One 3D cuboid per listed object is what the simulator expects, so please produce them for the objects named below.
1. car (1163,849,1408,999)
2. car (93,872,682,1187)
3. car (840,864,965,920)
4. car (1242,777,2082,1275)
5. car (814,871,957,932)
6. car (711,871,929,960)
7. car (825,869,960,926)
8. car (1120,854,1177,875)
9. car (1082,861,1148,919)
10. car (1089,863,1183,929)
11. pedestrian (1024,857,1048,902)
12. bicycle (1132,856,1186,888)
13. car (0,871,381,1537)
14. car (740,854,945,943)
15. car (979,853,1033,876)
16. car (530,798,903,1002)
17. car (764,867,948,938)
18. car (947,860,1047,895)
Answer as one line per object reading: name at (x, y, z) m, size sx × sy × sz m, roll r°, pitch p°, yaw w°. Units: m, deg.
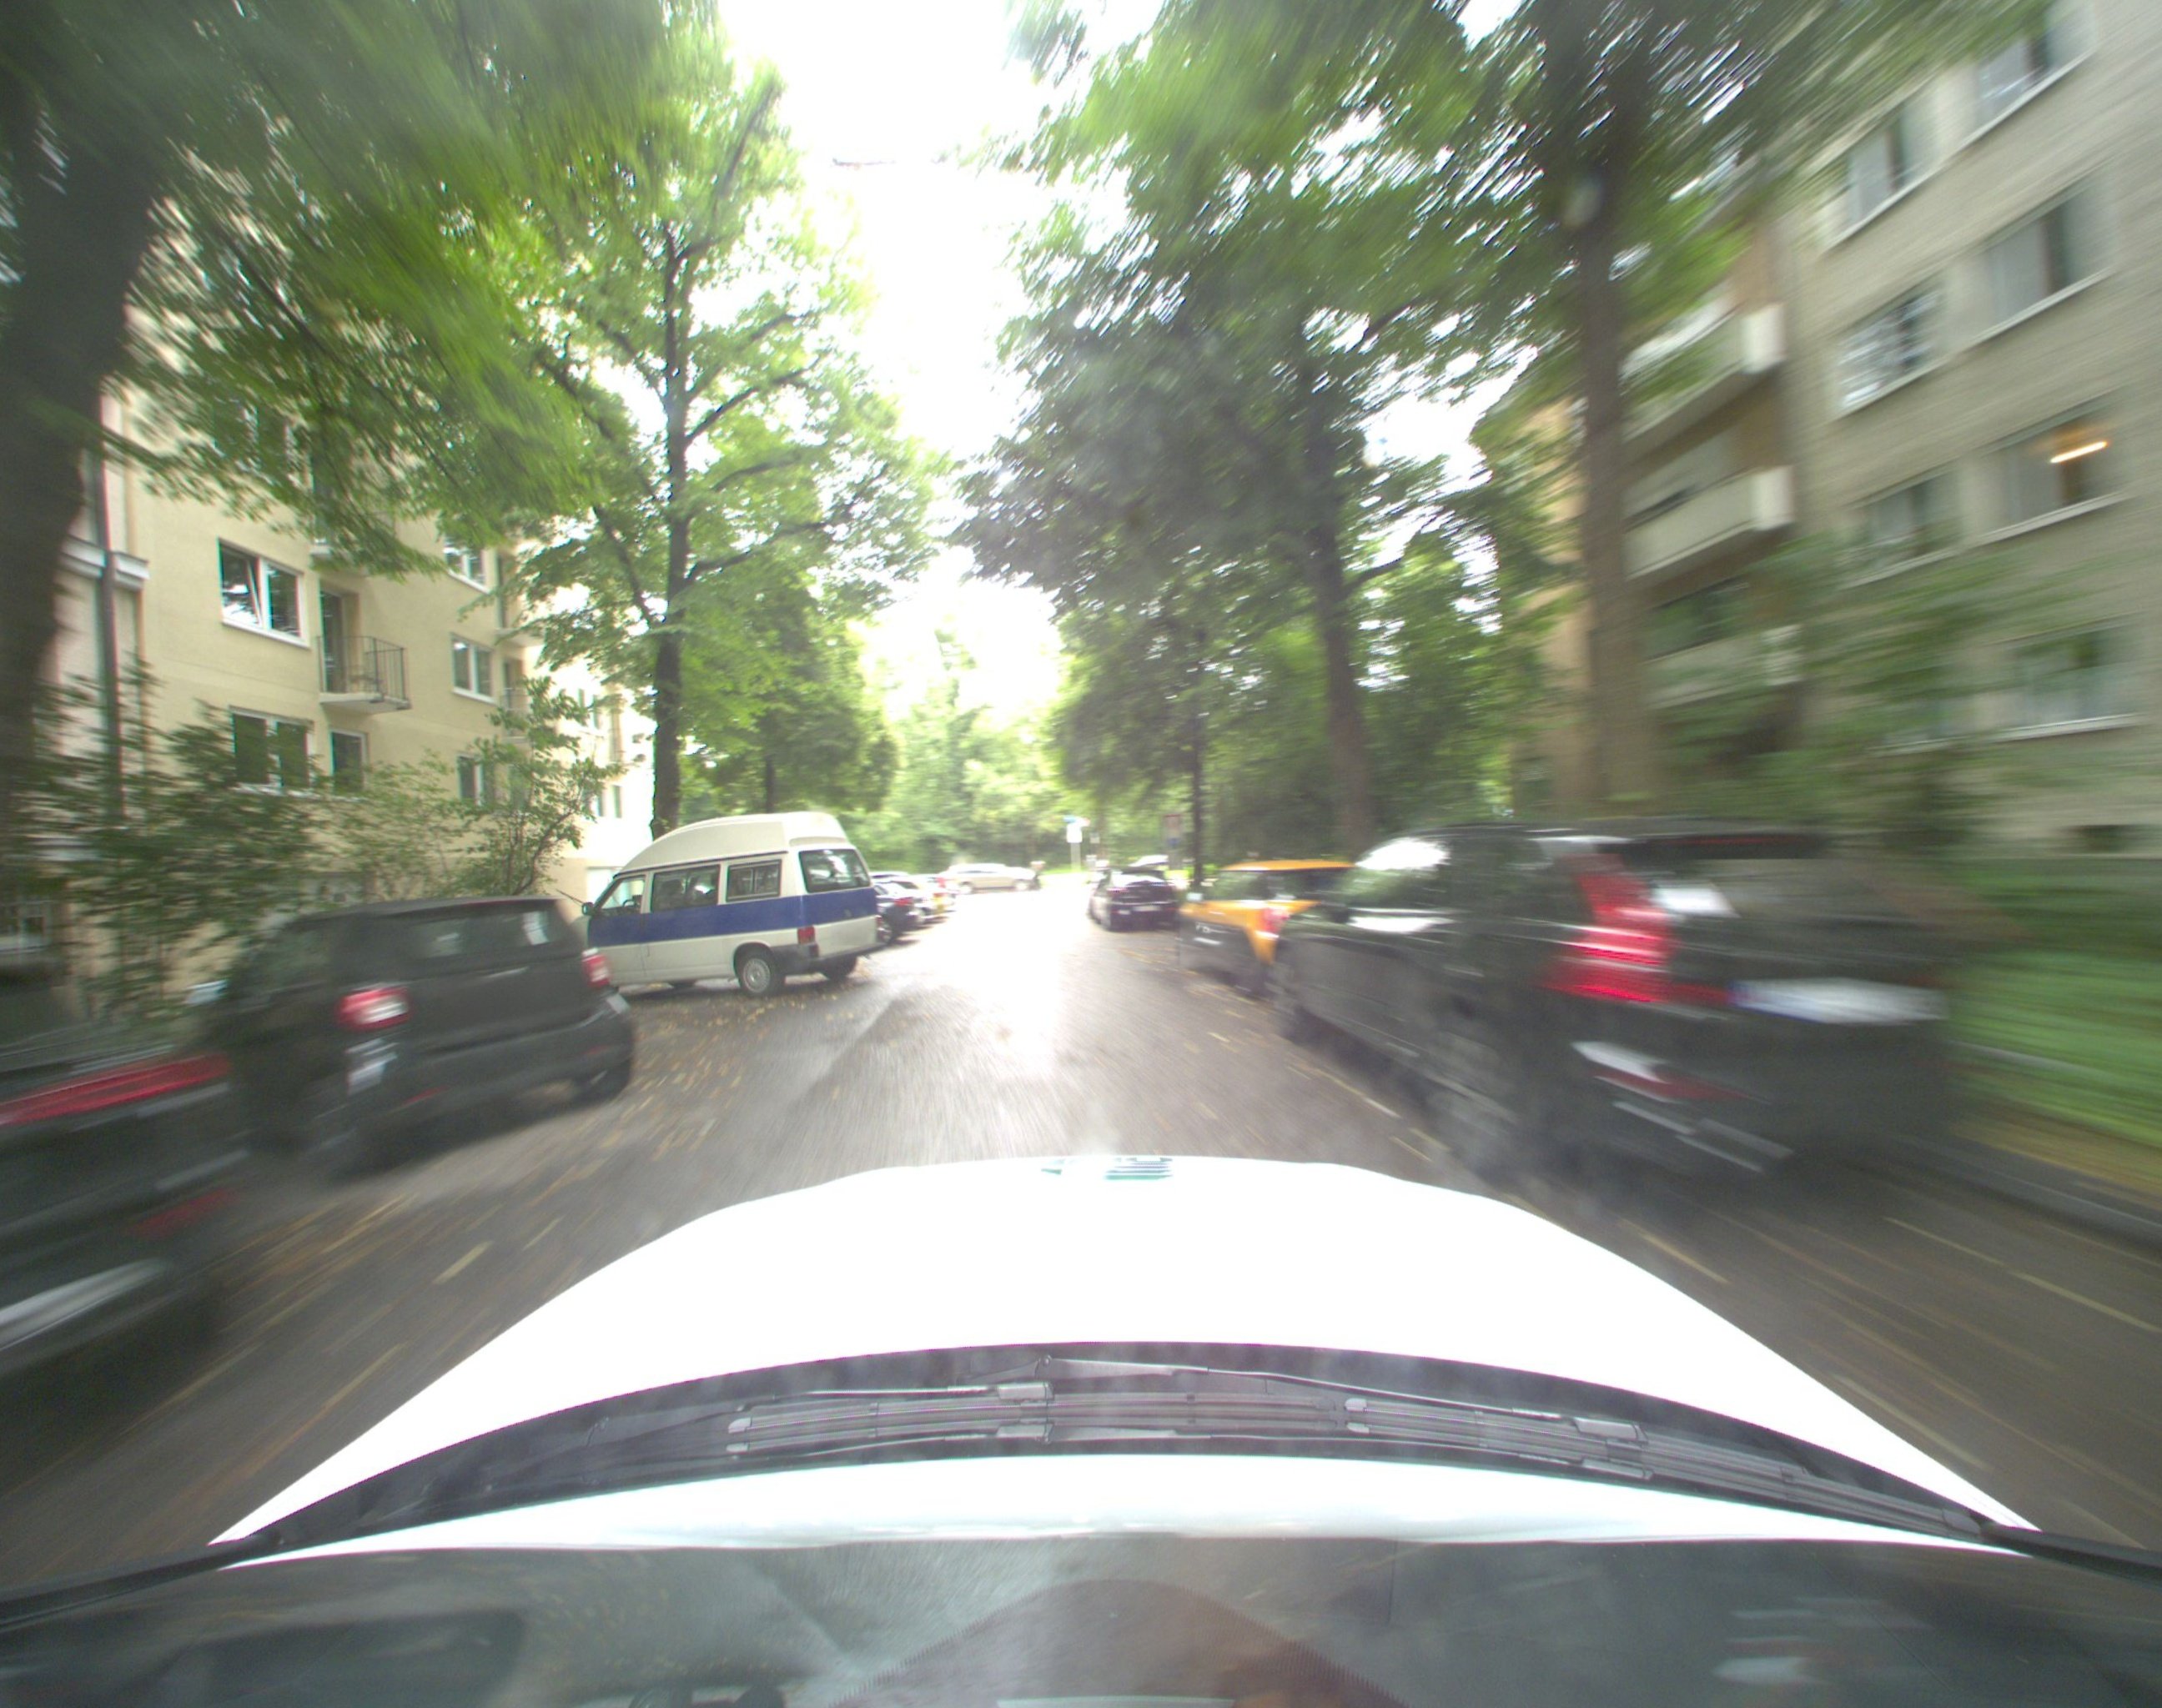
car at (2.288, 0.722, 10.151) m, size 1.617 × 1.412 × 3.770 m, roll -3°, pitch 0°, yaw -8°
car at (-5.043, 1.088, 5.904) m, size 3.819 × 1.560 × 1.827 m, roll -5°, pitch -1°, yaw 26°
car at (-6.425, 1.340, 29.695) m, size 4.155 × 1.601 × 1.733 m, roll -4°, pitch 1°, yaw -5°
car at (2.537, 0.598, 5.141) m, size 1.828 × 1.629 × 4.519 m, roll -3°, pitch 0°, yaw -4°
car at (-5.816, 1.383, 24.621) m, size 3.874 × 1.441 × 1.737 m, roll -4°, pitch 0°, yaw -6°
car at (-5.386, 1.252, 17.219) m, size 3.980 × 1.433 × 1.733 m, roll -4°, pitch 0°, yaw -5°
car at (-6.116, 1.386, 26.803) m, size 3.980 × 1.464 × 1.733 m, roll -4°, pitch 0°, yaw -5°
car at (5.879, 0.908, 71.096) m, size 4.586 × 1.471 × 1.923 m, roll -4°, pitch 0°, yaw -13°
car at (0.949, 0.998, 24.172) m, size 1.643 × 1.474 × 3.641 m, roll -3°, pitch 0°, yaw -1°
car at (1.243, 0.946, 19.930) m, size 1.679 × 1.358 × 4.002 m, roll -3°, pitch 0°, yaw -5°
pedestrian at (-1.682, 0.965, 30.736) m, size 0.777 × 1.617 × 0.760 m, roll -3°, pitch 2°, yaw -2°
bicycle at (2.656, 0.606, 27.707) m, size 1.744 × 0.982 × 0.273 m, roll -4°, pitch -1°, yaw 4°
car at (-4.348, 1.005, 2.871) m, size 3.948 × 1.536 × 1.827 m, roll -6°, pitch -1°, yaw 34°
car at (-5.684, 1.042, 19.828) m, size 4.301 × 1.731 × 1.847 m, roll -4°, pitch 0°, yaw -2°
car at (-6.331, 0.894, 68.619) m, size 4.430 × 1.579 × 1.927 m, roll -4°, pitch 0°, yaw -7°
car at (-5.104, 0.670, 11.517) m, size 4.532 × 2.377 × 1.914 m, roll -5°, pitch -1°, yaw 18°
car at (-6.088, 1.288, 22.426) m, size 4.433 × 1.596 × 1.835 m, roll -3°, pitch 0°, yaw 0°
car at (-4.225, 1.175, 41.459) m, size 4.785 × 1.495 × 1.842 m, roll -3°, pitch 0°, yaw 1°
